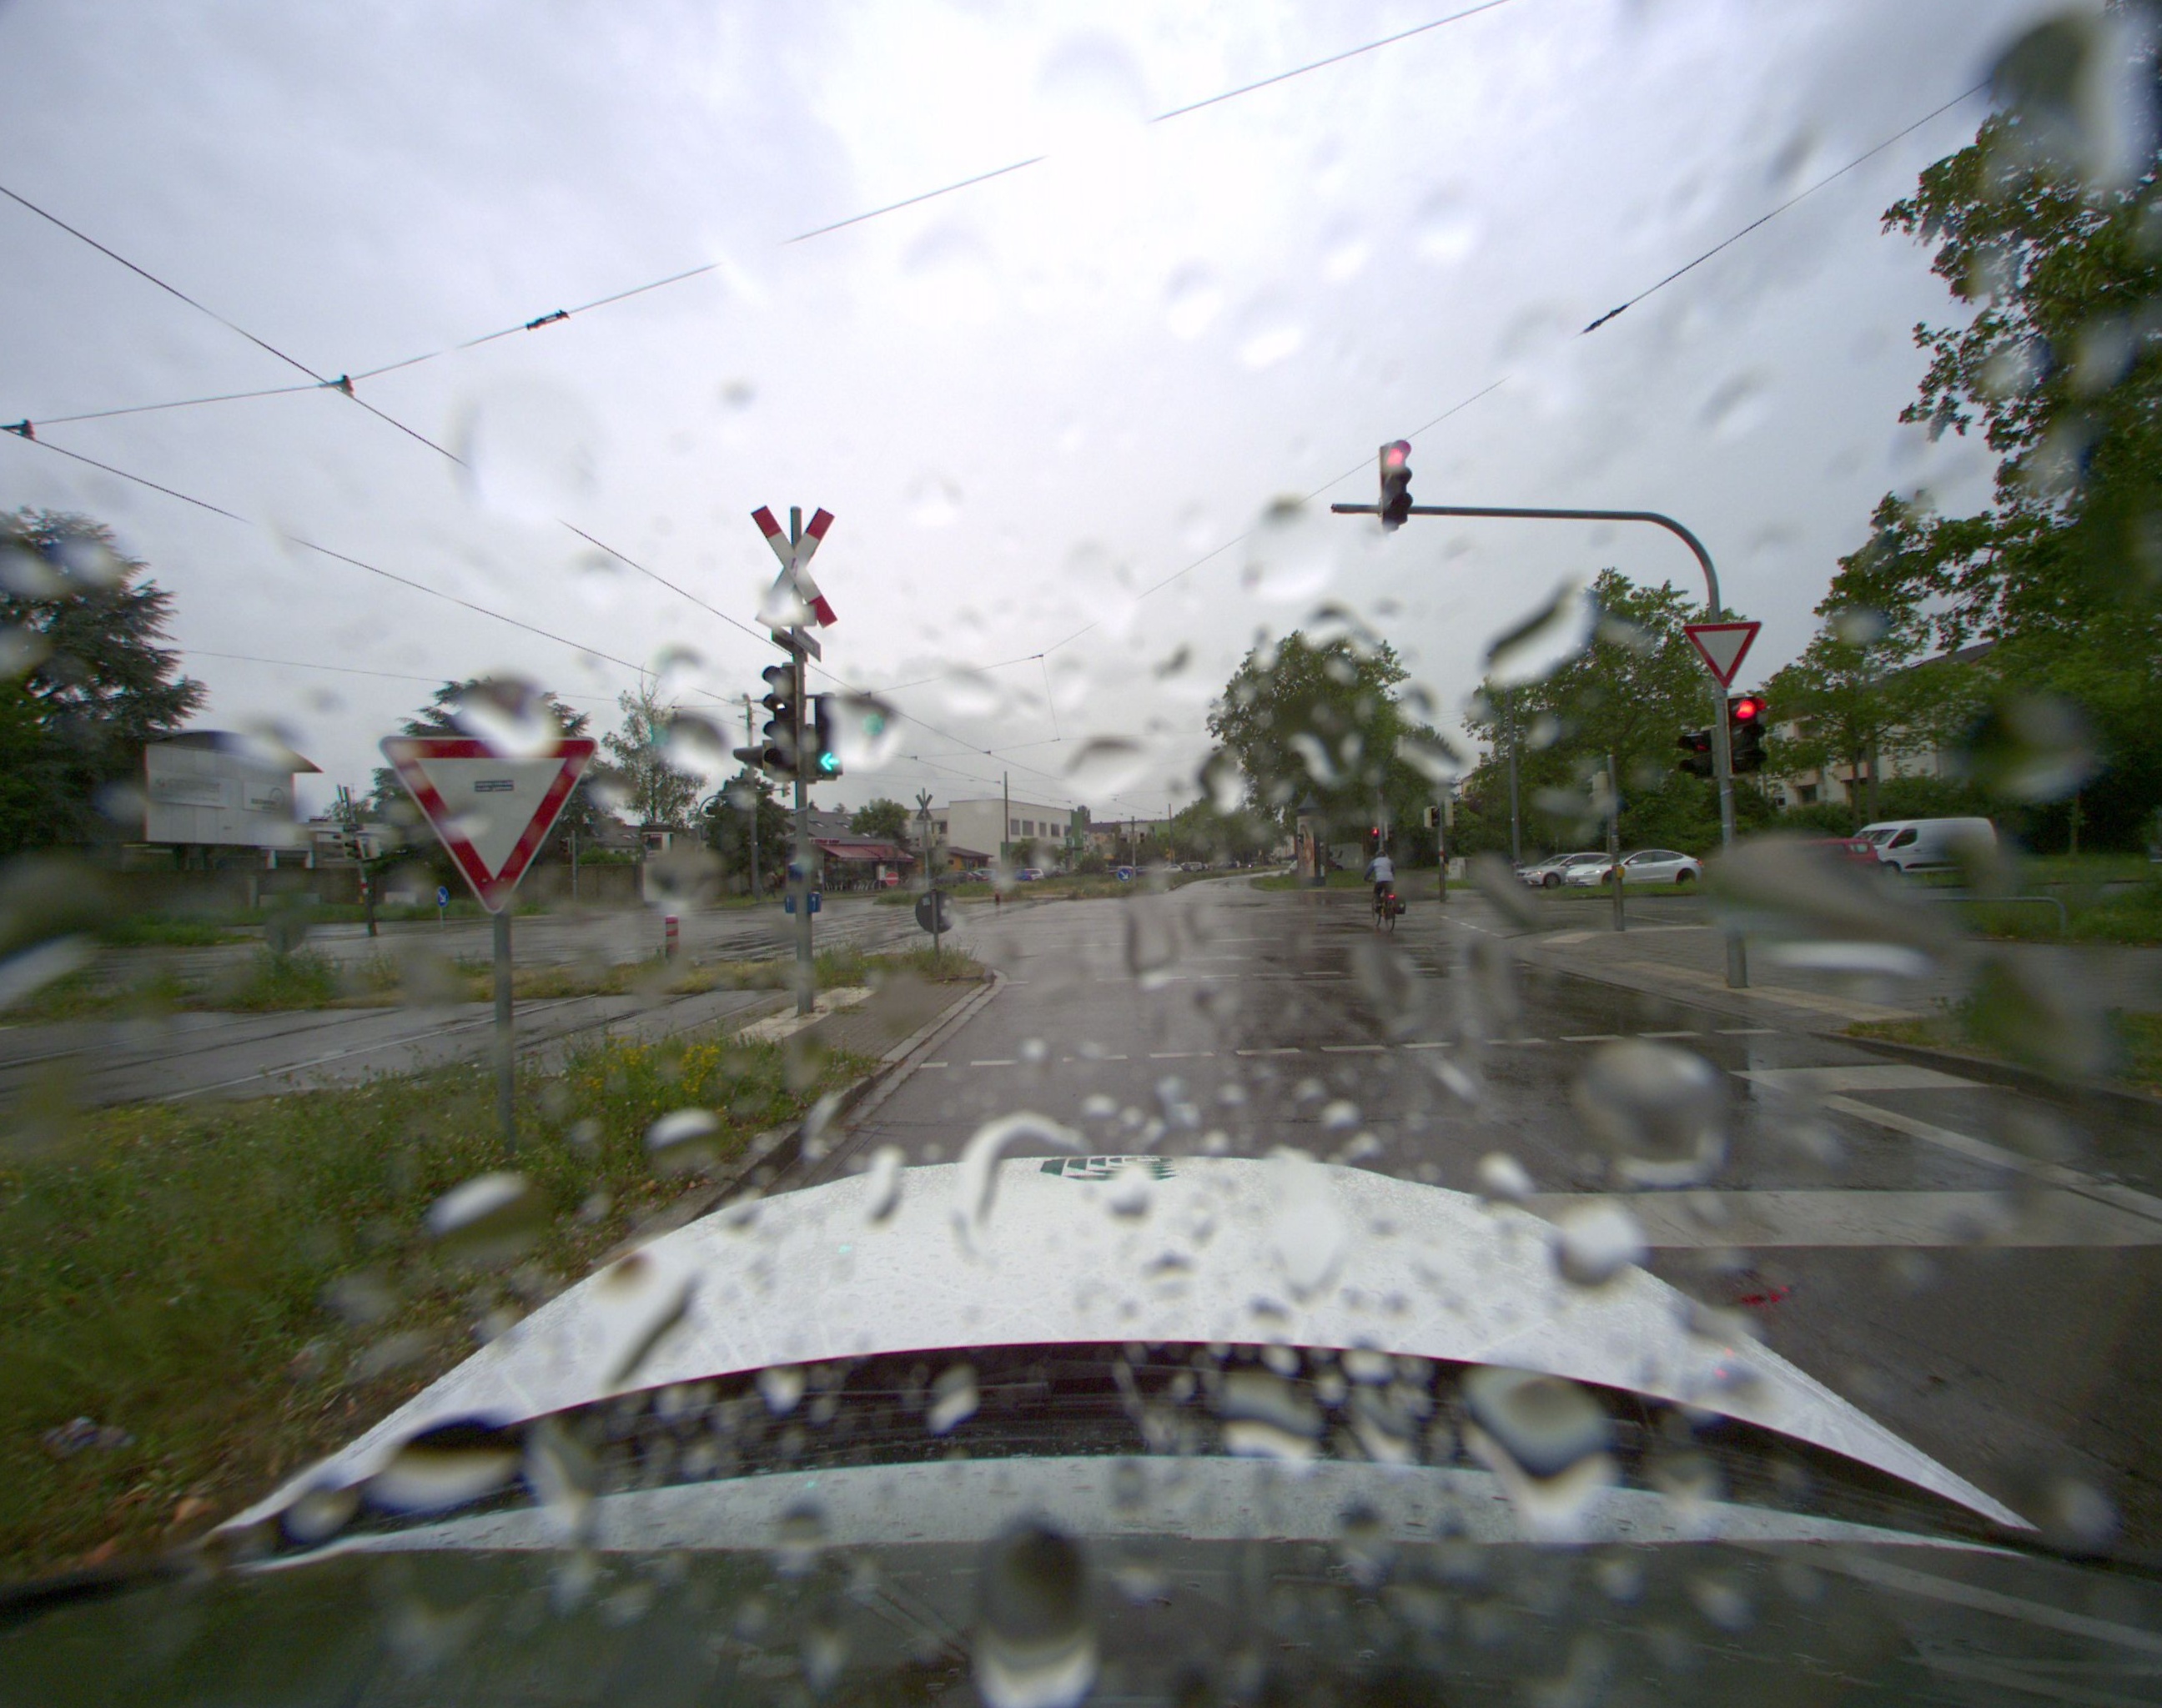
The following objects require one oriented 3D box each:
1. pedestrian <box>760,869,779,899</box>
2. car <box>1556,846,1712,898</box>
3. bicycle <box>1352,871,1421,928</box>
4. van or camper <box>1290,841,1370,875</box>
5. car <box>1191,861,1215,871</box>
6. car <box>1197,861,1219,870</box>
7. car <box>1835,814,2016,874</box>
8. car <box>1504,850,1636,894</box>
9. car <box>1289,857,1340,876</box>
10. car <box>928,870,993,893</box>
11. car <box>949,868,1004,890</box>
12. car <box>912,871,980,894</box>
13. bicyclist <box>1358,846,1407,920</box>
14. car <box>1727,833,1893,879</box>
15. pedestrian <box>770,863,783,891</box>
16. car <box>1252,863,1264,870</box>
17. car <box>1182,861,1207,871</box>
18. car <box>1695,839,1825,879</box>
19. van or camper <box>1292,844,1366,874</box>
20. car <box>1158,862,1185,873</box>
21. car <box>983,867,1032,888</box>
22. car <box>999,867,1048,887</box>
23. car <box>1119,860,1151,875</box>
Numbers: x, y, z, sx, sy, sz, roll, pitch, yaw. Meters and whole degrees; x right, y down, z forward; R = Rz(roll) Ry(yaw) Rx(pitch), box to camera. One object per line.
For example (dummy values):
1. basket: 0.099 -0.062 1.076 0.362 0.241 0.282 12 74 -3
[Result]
1. pedestrian: -19.226 1.823 50.265 0.721 1.797 0.888 -1 0 5
2. car: 20.403 0.669 30.161 4.585 1.828 1.931 0 -1 -5
3. bicycle: 6.294 0.916 16.880 0.688 1.117 1.884 -1 -2 -1
4. van or camper: 24.326 0.414 79.579 7.261 3.178 3.278 -1 -1 20
5. car: 22.936 2.186 152.901 3.986 1.832 1.993 0 -1 -10
6. car: 24.651 2.257 158.021 3.978 1.832 1.998 0 -1 -3
7. car: 35.172 -0.374 34.021 5.589 2.392 1.999 0 -1 -2
8. car: 20.080 0.737 33.551 4.385 1.691 1.931 0 -1 -5
9. car: 21.955 1.152 76.663 4.405 1.717 2.011 -1 -1 23
10. car: -8.978 2.053 61.056 4.479 1.418 1.860 -3 -1 2
11. car: -8.251 1.999 64.545 3.966 1.582 1.862 -2 -1 6
12. car: -9.687 2.054 58.780 4.459 1.418 1.860 -3 -1 2
13. bicyclist: 6.285 0.605 17.007 0.688 1.506 0.843 -1 -2 -1
14. car: 26.911 0.076 30.162 4.590 1.607 1.790 0 -1 -1
15. pedestrian: -22.226 1.658 59.452 0.796 2.014 0.719 0 -1 -27
16. car: 42.181 2.897 193.905 1.873 1.662 4.023 -1 -1 25
17. car: 20.119 2.099 144.081 3.986 1.759 2.003 0 -1 -10
18. car: 28.219 0.221 33.921 4.048 1.607 1.788 0 -1 -5
19. van or camper: 27.019 0.567 88.652 7.359 3.178 3.280 -1 -1 24
20. car: 13.969 2.049 125.985 3.772 1.702 1.832 0 -1 -8
21. car: -6.301 1.996 69.490 3.986 1.582 1.923 -2 -1 -10
22. car: -5.188 2.009 72.664 4.112 1.641 1.922 -1 -1 -13
23. car: 7.237 1.810 109.552 3.980 1.888 1.996 0 -1 -5
